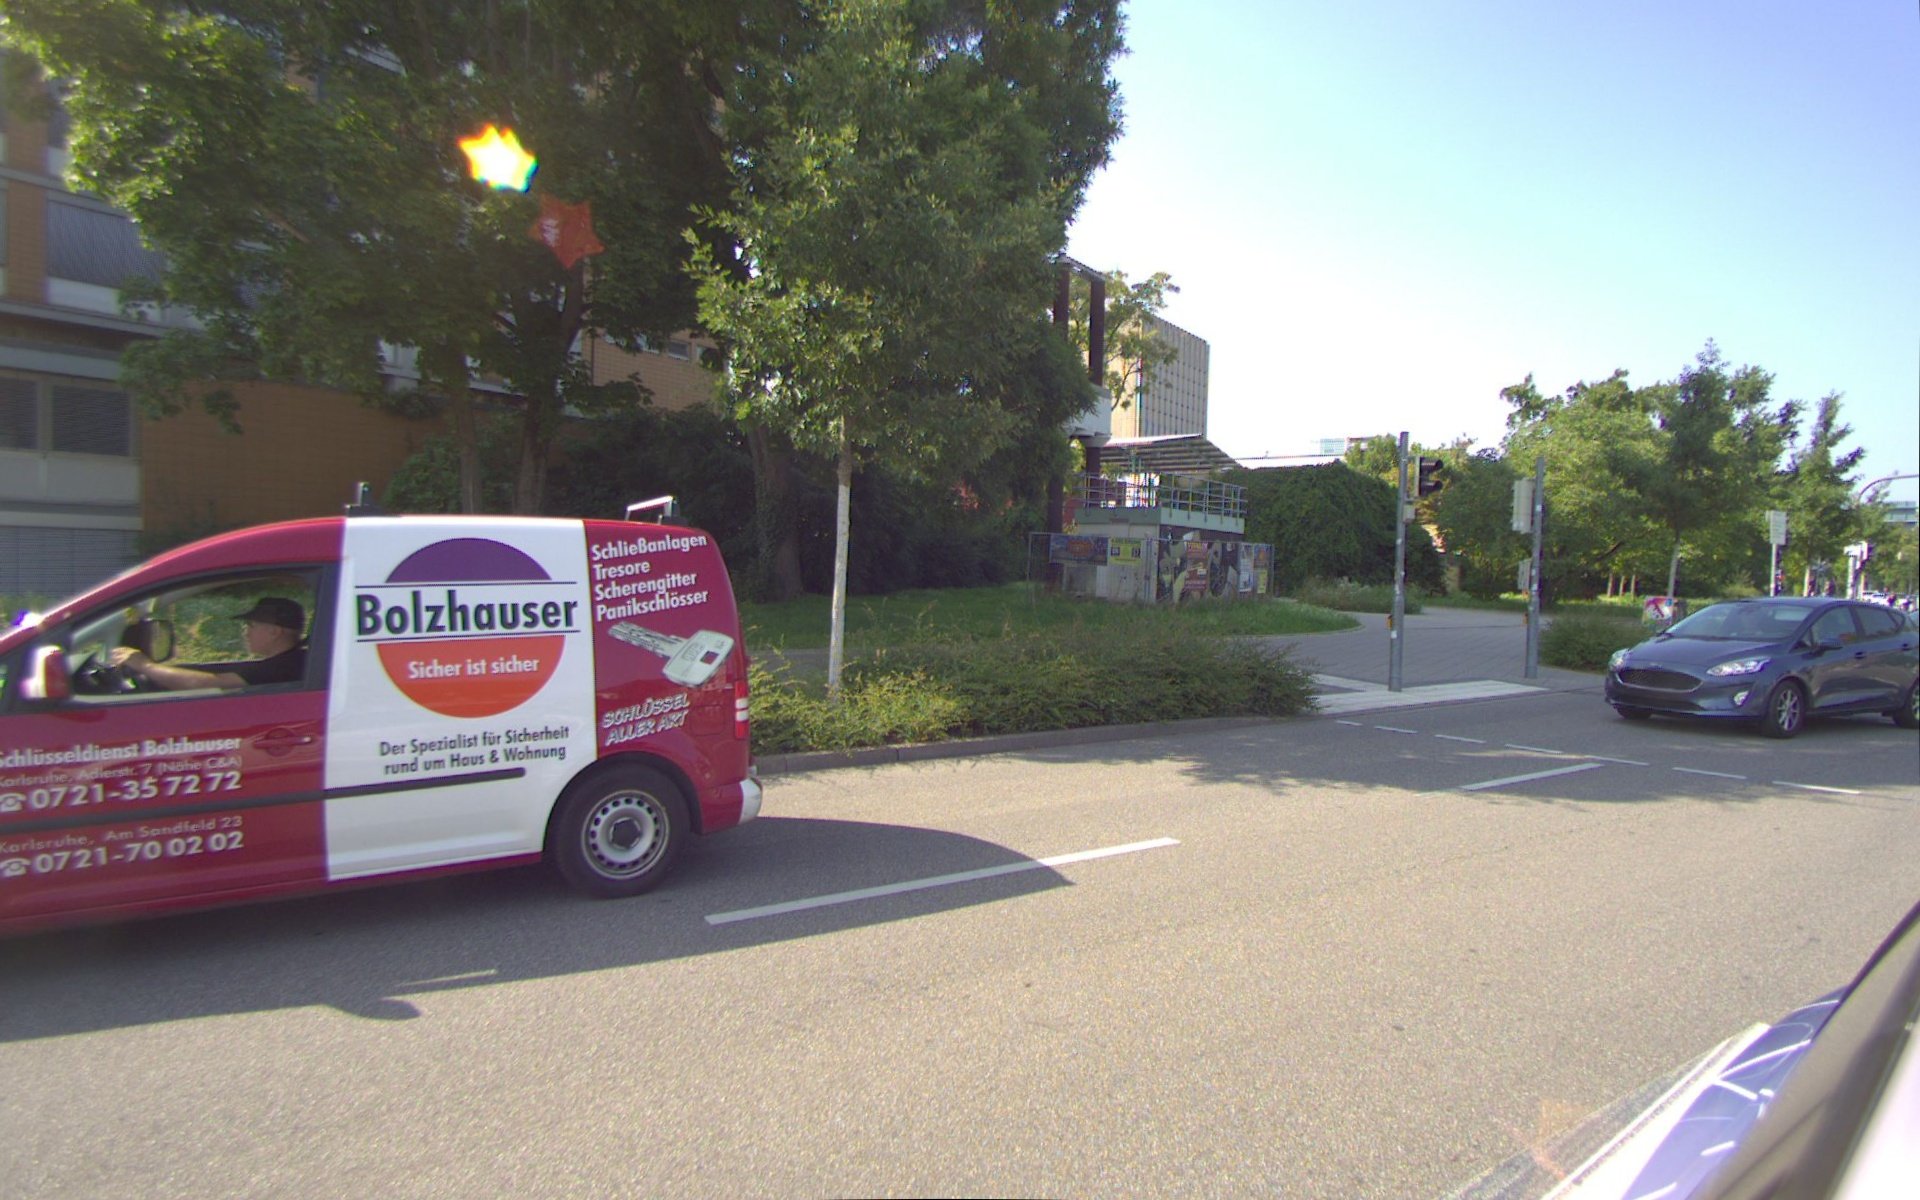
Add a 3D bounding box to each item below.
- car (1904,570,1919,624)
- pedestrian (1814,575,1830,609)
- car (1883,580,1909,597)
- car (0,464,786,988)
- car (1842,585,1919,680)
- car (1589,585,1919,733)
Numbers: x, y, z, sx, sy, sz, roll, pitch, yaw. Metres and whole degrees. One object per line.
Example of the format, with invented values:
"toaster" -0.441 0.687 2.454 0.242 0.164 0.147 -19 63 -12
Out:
"car" 35.602 -0.108 36.679 1.842 1.898 4.893 2 2 45
"pedestrian" 48.171 -0.454 56.540 0.621 1.868 0.632 3 2 41
"car" 101.168 -1.286 109.389 1.824 1.704 3.943 3 2 40
"car" -3.112 0.419 4.713 4.192 1.842 1.739 0 1 -31
"car" 16.469 0.521 15.972 3.781 1.451 1.724 1 0 -7
"car" 9.409 0.587 11.457 4.231 1.445 1.644 1 1 -21
